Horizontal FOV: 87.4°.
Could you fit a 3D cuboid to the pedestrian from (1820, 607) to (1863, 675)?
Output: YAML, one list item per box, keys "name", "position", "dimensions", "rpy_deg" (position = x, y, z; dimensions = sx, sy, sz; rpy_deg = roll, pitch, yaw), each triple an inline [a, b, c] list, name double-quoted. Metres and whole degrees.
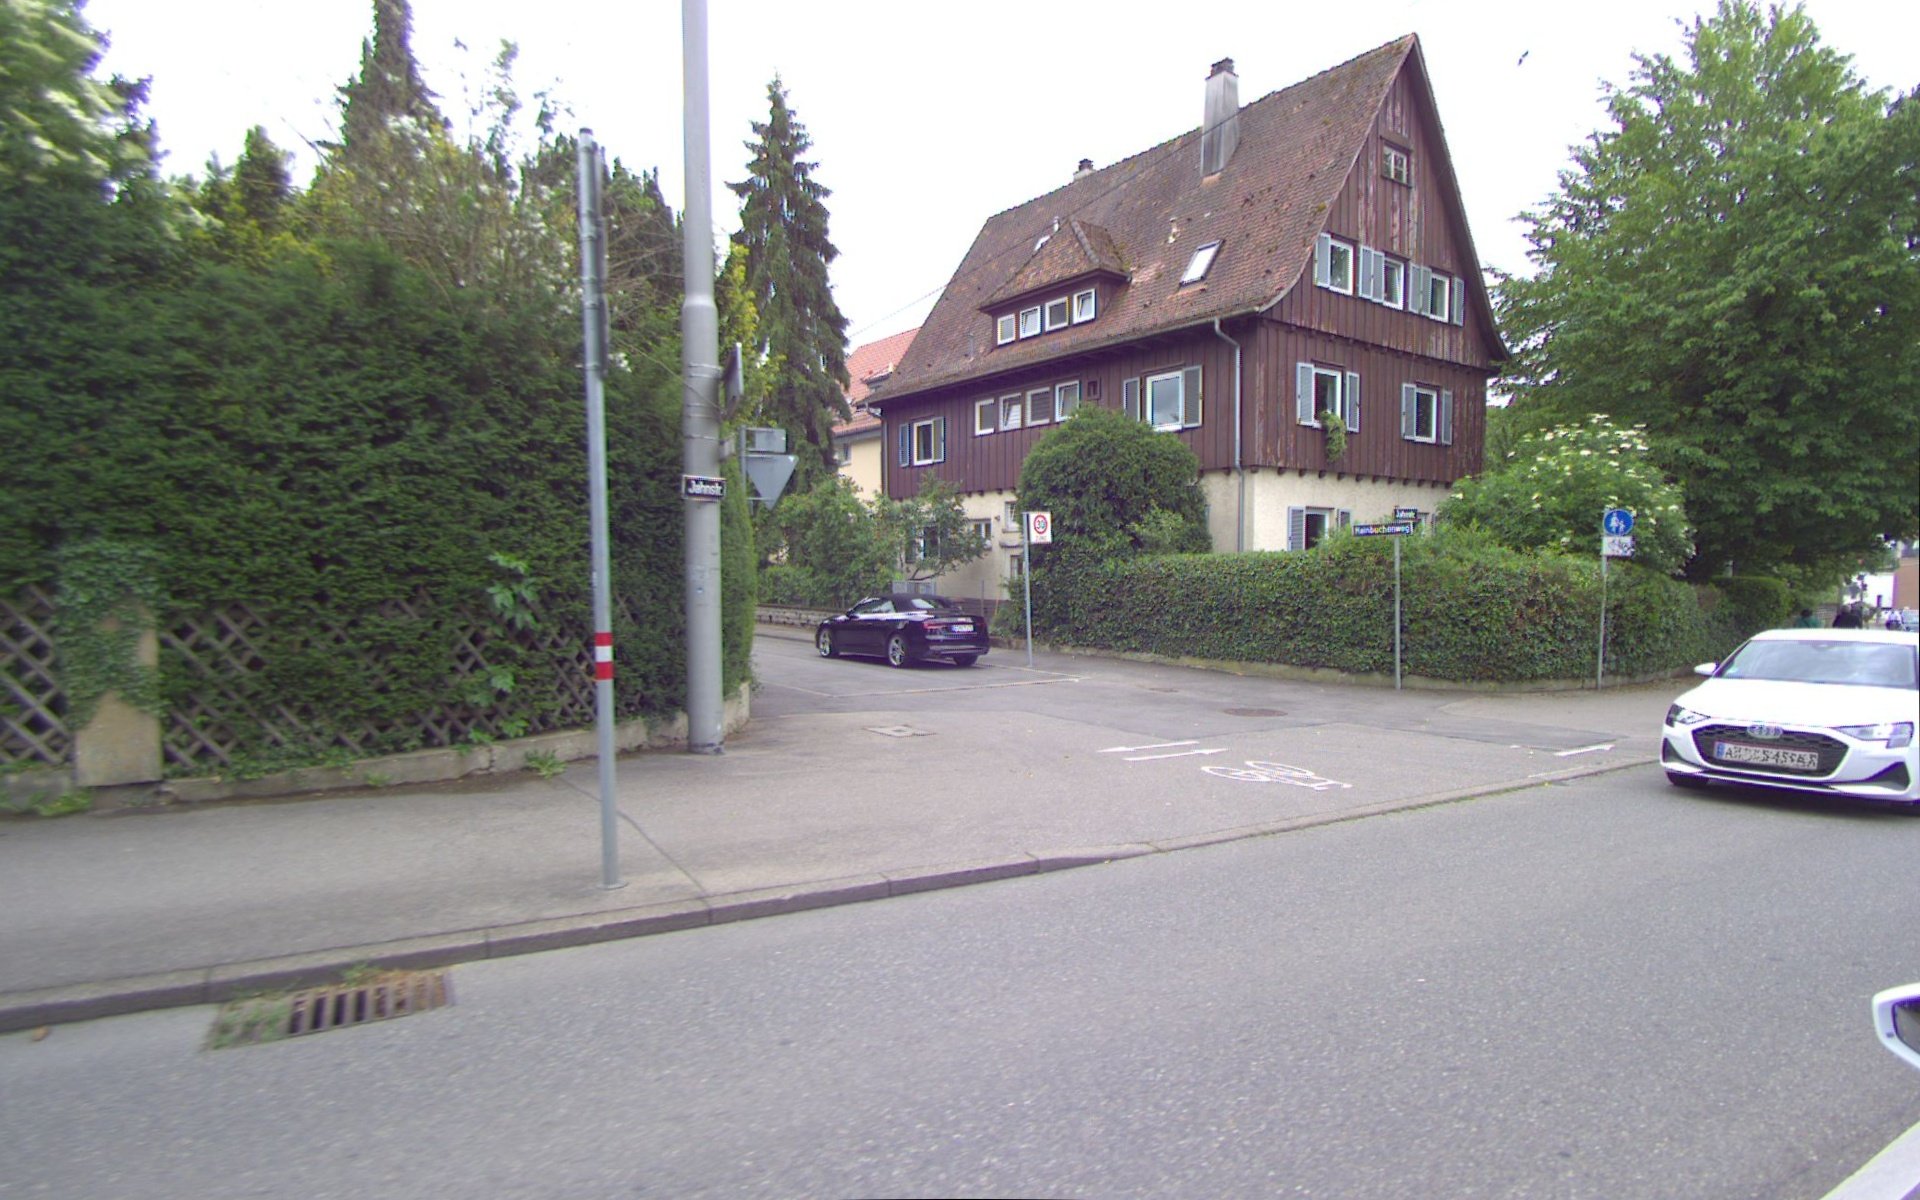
- name: "pedestrian"
  position: [22.572, 1.029, 25.729]
  dimensions: [0.619, 1.684, 0.918]
  rpy_deg: [2, 1, 31]

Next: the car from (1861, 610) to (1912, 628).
- name: "car"
  position: [112.184, 2.281, 121.651]
  dimensions: [3.920, 2.041, 2.000]
  rpy_deg: [2, 1, 16]

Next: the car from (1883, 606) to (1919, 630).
- name: "car"
  position: [68.238, 1.271, 72.664]
  dimensions: [1.809, 1.652, 4.263]
  rpy_deg: [1, 0, 39]

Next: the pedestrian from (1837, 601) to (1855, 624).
- name: "pedestrian"
  position: [72.299, 0.998, 82.001]
  dimensions: [0.802, 1.787, 0.867]
  rpy_deg: [2, 2, 22]

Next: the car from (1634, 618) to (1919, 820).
- name: "car"
  position: [8.079, 0.935, 9.383]
  dimensions: [4.162, 1.462, 1.794]
  rpy_deg: [2, -1, -39]

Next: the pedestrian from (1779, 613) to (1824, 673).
- name: "pedestrian"
  position: [21.841, 1.106, 26.087]
  dimensions: [0.659, 1.468, 0.756]
  rpy_deg: [6, 3, 30]

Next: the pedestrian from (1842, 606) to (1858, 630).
- name: "pedestrian"
  position: [72.529, 1.472, 81.853]
  dimensions: [0.737, 1.862, 0.615]
  rpy_deg: [2, 2, 16]

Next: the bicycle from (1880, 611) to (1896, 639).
- name: "bicycle"
  position: [60.172, 1.594, 65.133]
  dimensions: [0.750, 1.768, 1.860]
  rpy_deg: [1, 0, 43]

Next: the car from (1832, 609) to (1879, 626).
- name: "car"
  position: [115.247, 2.251, 129.336]
  dimensions: [3.920, 2.041, 2.000]
  rpy_deg: [1, 1, 17]

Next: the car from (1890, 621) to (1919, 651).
- name: "car"
  position: [51.142, 1.910, 53.757]
  dimensions: [1.699, 1.491, 3.516]
  rpy_deg: [0, 0, 38]

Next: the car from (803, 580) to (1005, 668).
- name: "car"
  position: [-1.282, 0.393, 20.611]
  dimensions: [1.870, 1.434, 4.712]
  rpy_deg: [0, 3, -36]
